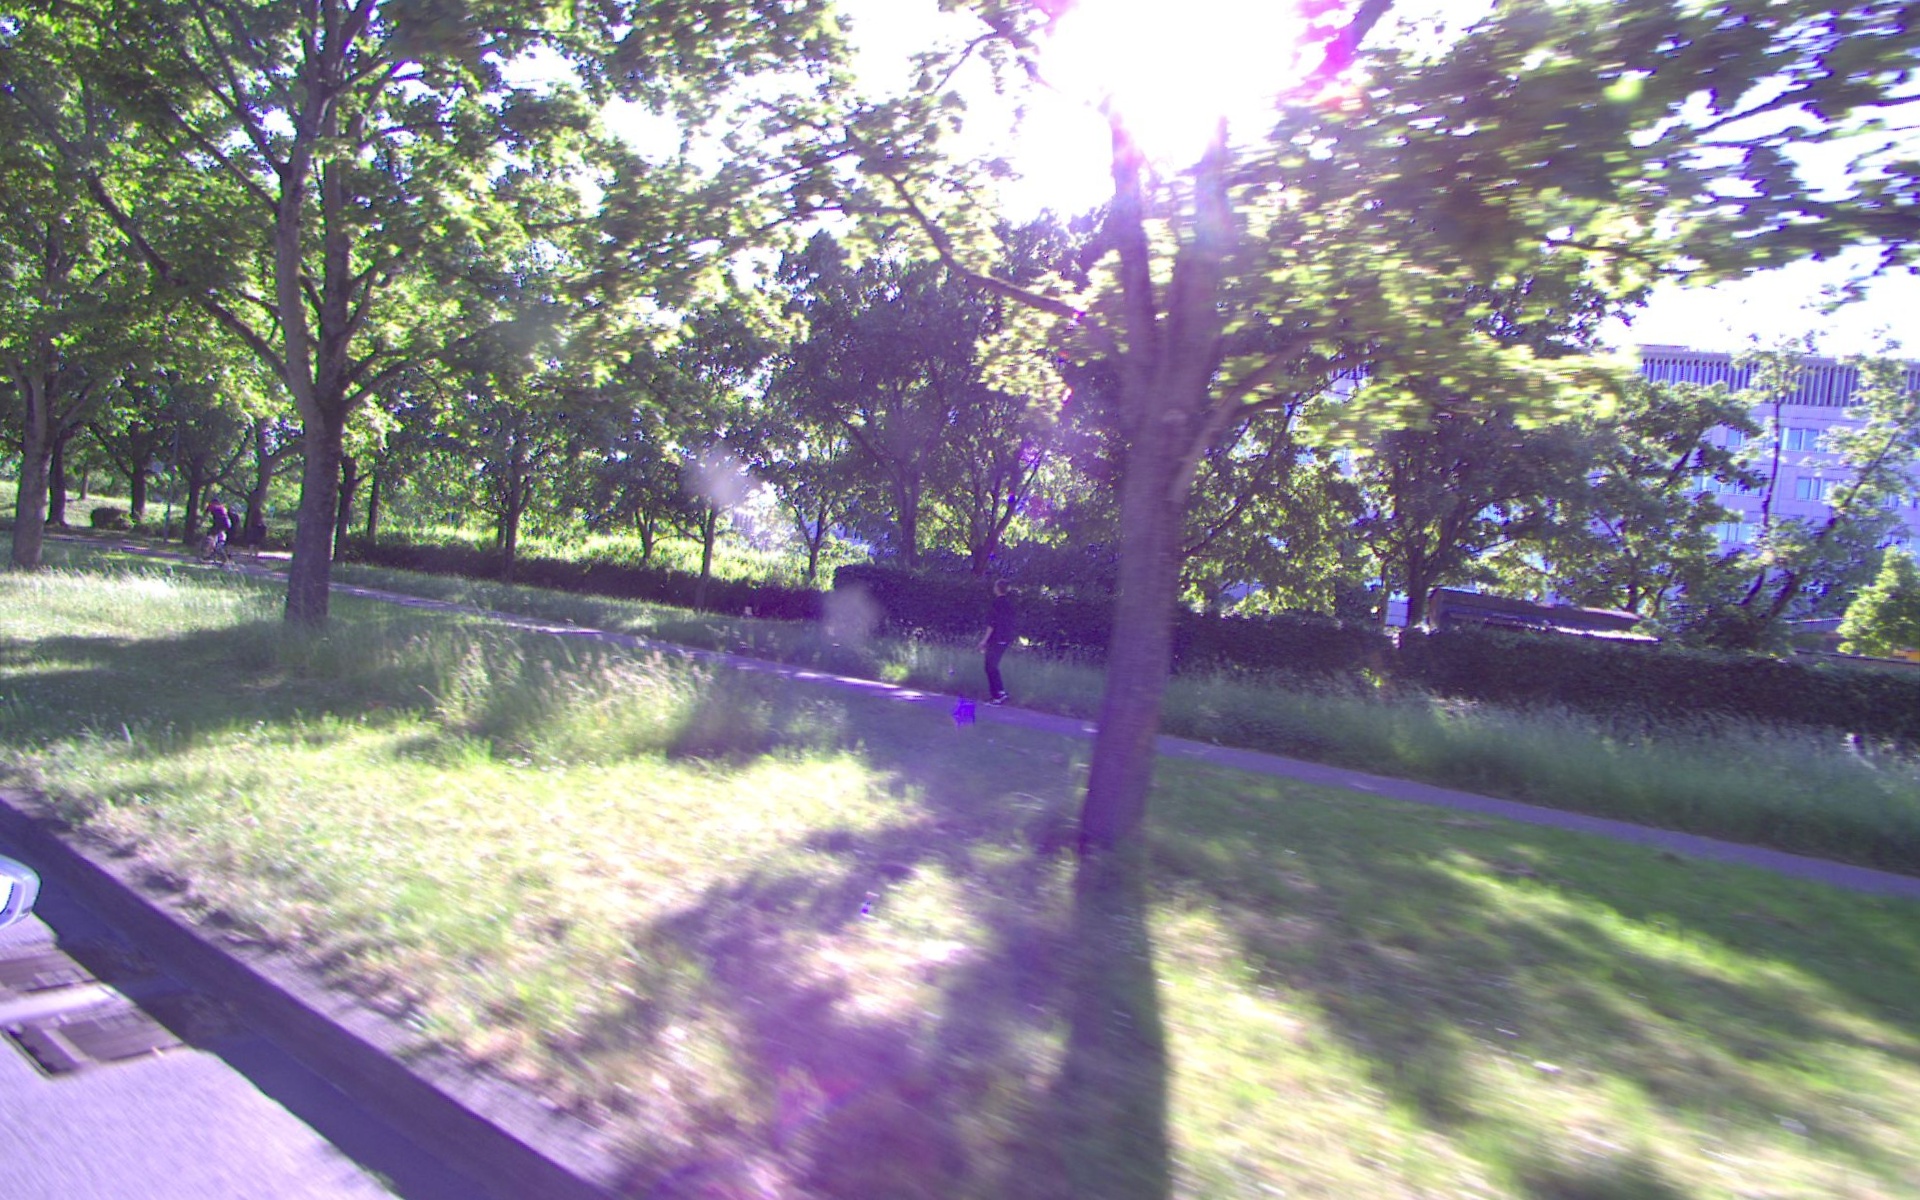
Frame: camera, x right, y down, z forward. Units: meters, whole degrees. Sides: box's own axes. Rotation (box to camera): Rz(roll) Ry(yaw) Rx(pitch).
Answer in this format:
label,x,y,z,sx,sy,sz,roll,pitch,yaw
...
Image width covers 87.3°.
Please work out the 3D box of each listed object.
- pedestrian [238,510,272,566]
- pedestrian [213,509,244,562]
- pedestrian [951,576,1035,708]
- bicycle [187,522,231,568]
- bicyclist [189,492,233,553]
label,x,y,z,sx,sy,sz,roll,pitch,yaw
pedestrian,-22.924,-2.031,32.707,0.634,1.712,0.833,6,1,-45
pedestrian,-23.629,-2.084,32.491,0.545,1.642,0.833,6,1,-45
pedestrian,0.489,0.626,14.819,0.781,1.825,0.716,7,0,32
bicycle,-19.650,-1.452,26.304,0.790,1.060,2.119,7,0,-38
bicyclist,-19.519,-2.009,26.220,0.786,1.468,0.836,6,0,-39
